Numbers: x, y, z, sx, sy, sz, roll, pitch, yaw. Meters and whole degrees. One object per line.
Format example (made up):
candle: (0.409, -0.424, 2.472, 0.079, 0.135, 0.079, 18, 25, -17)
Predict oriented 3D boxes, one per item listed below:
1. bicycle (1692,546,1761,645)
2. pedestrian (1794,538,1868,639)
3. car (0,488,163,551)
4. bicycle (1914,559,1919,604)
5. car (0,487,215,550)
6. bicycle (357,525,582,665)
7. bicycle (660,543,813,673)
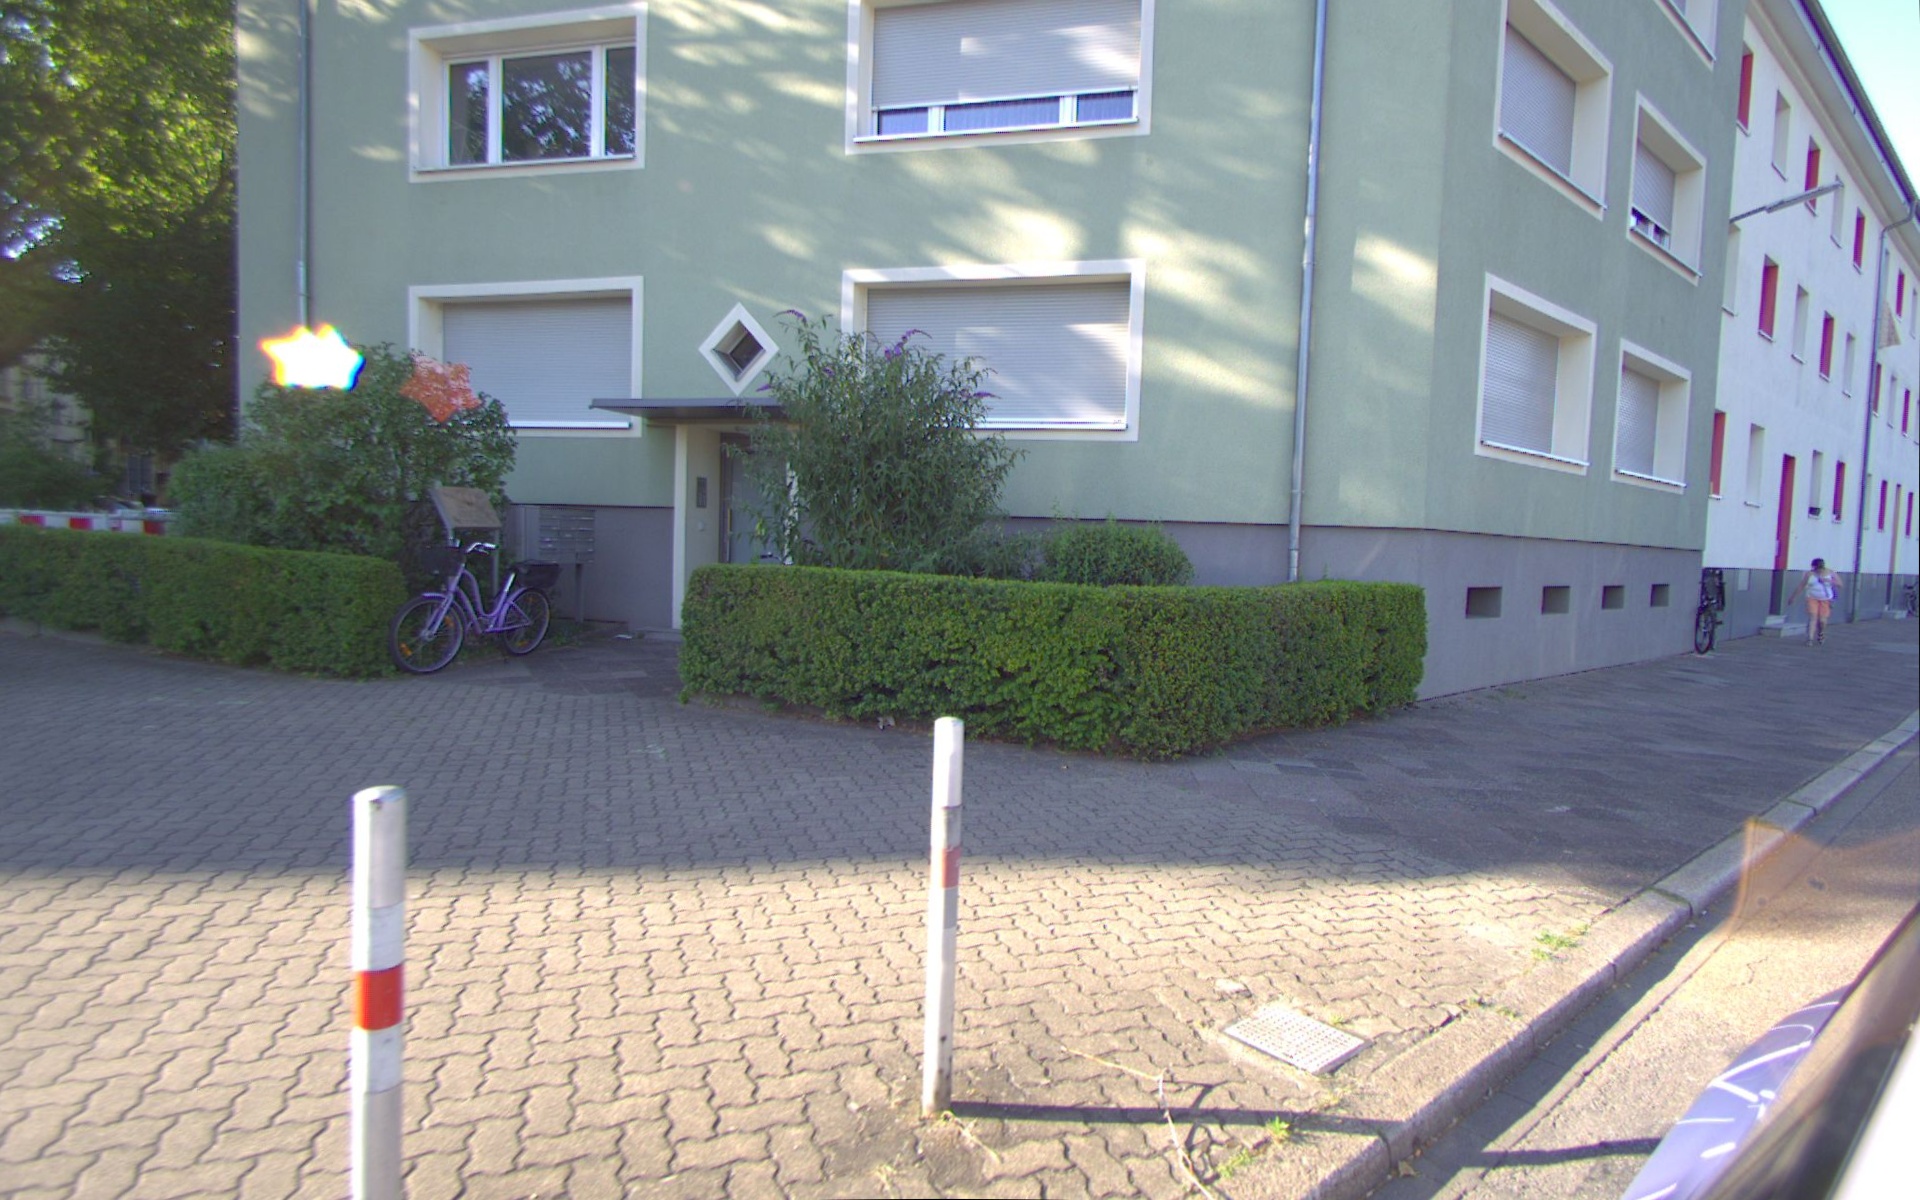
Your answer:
bicycle: (11.828, -0.092, 15.590, 1.843, 1.429, 0.517, -2, 4, -45)
pedestrian: (15.532, -0.217, 18.046, 0.933, 1.727, 0.787, -1, 4, -41)
car: (-25.506, -2.263, 28.327, 4.628, 1.621, 1.925, 0, 4, -18)
bicycle: (31.030, -0.597, 32.451, 1.843, 1.429, 0.517, -2, 4, -45)
car: (-25.784, -2.451, 30.815, 4.628, 1.742, 1.925, 0, 4, -19)
bicycle: (-4.178, -0.088, 8.795, 0.515, 1.069, 1.921, 3, 4, 22)
bicycle: (-1.947, 0.011, 9.093, 0.636, 1.014, 1.843, 2, 4, 12)
